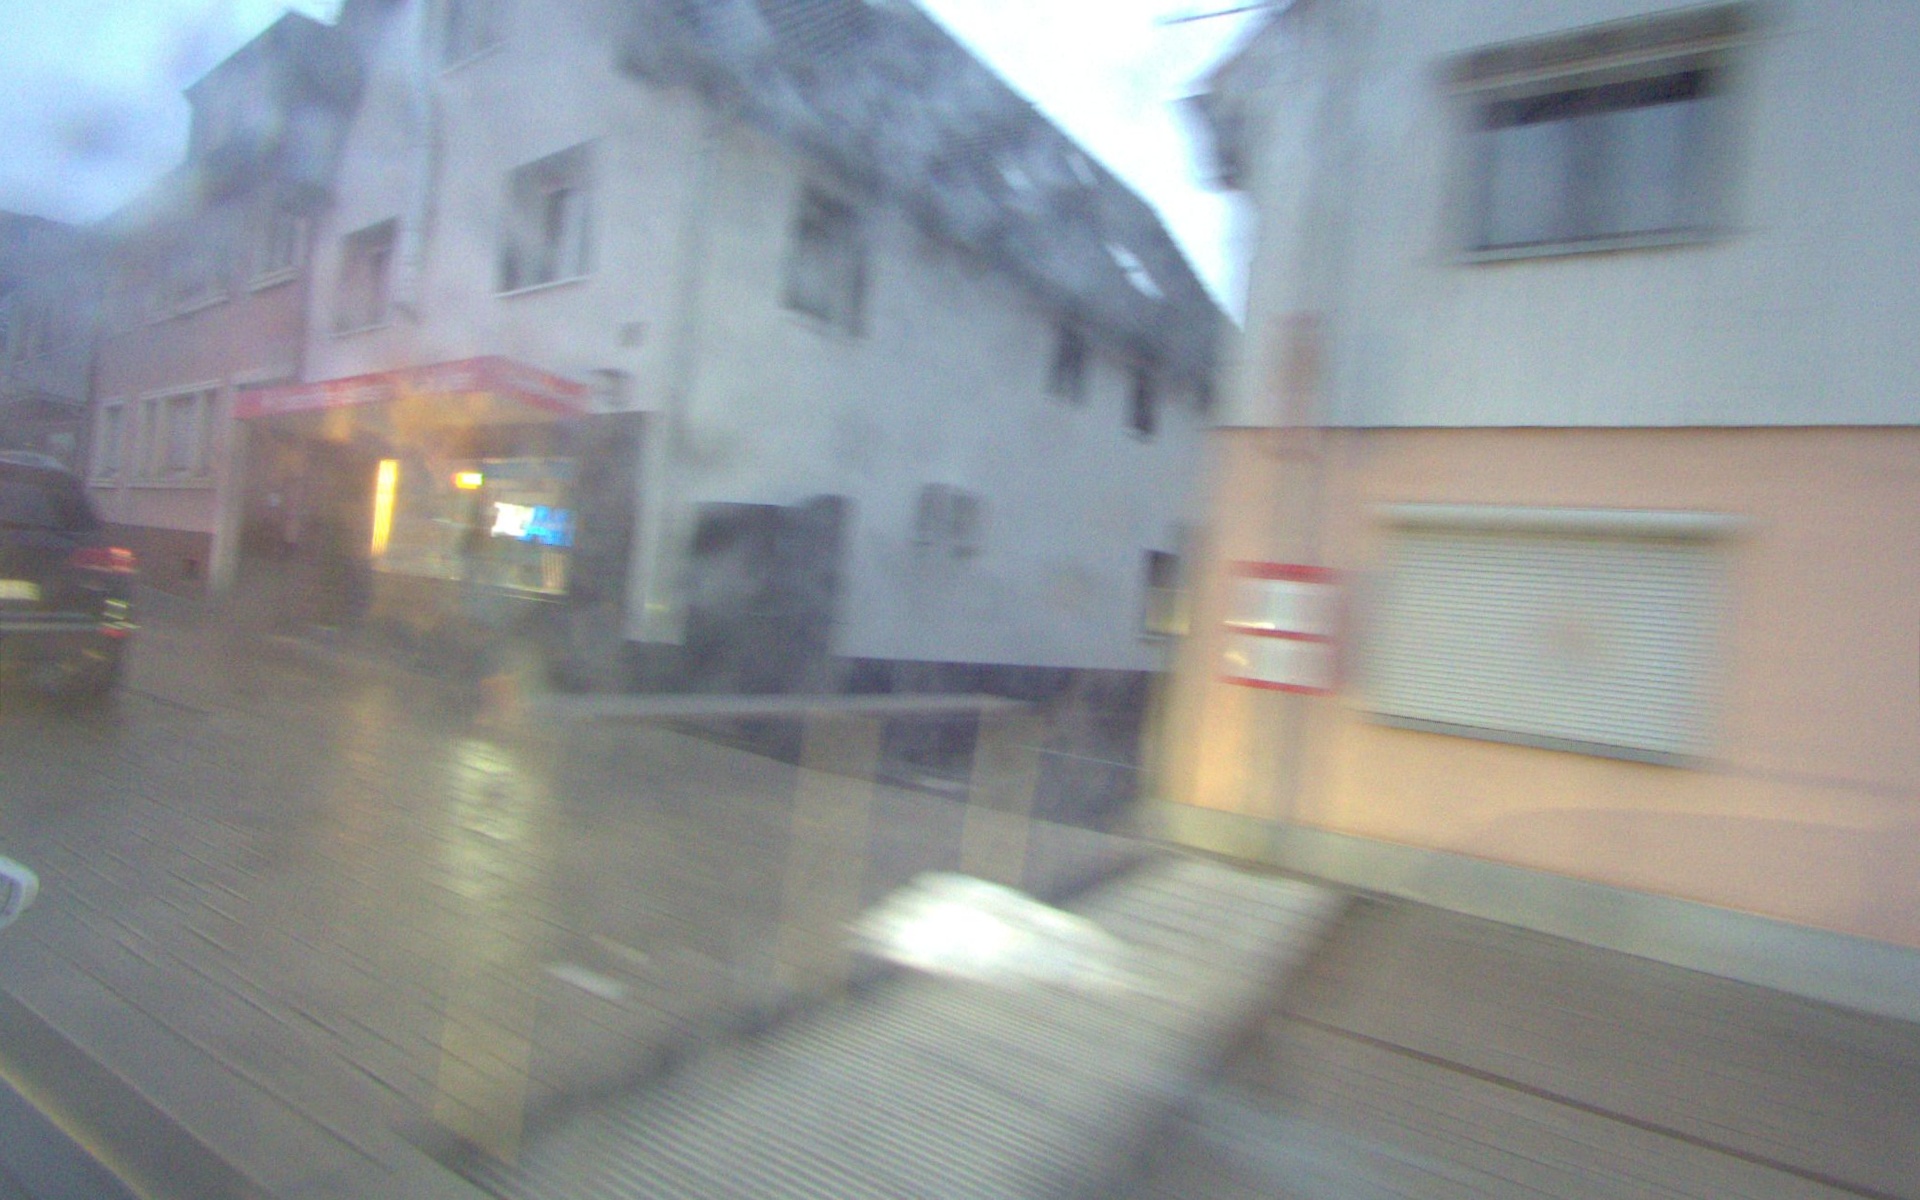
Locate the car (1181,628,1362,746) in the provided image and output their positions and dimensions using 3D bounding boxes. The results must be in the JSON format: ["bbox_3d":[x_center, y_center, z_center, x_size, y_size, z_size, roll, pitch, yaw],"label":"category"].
[{"bbox_3d":[4.986,1.294,15.736,1.633,1.410,3.989,7,1,32],"label":"car"}]

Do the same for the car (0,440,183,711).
[{"bbox_3d":[-7.824,-0.370,7.353,4.387,1.682,1.975,7,1,33],"label":"car"}]
